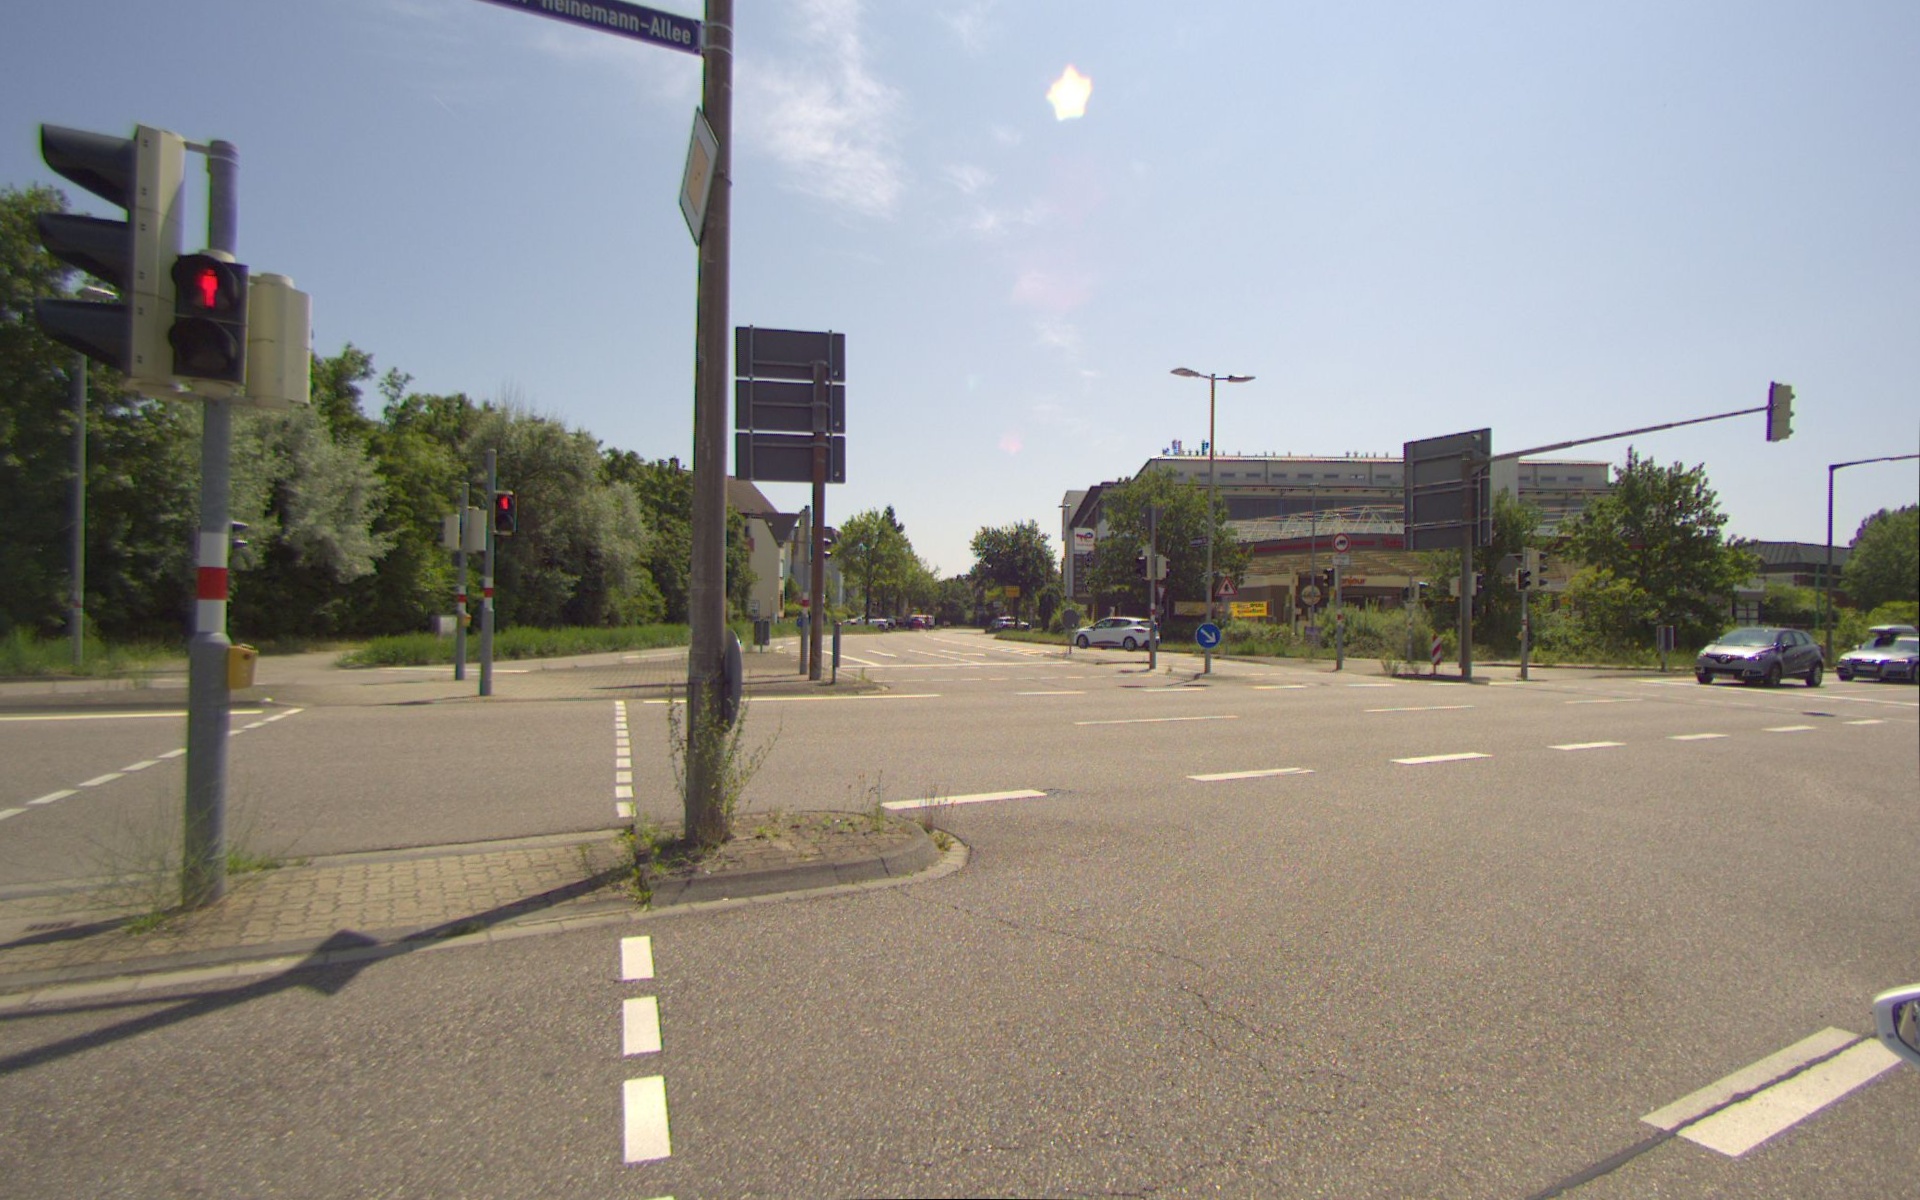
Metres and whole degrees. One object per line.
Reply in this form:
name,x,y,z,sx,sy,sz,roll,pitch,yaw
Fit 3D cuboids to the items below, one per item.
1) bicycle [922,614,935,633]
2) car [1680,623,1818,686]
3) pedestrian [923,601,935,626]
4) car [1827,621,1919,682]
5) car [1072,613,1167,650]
bicycle,-3.403,2.511,108.588,0.876,2.040,3.196,1,-1,6
car,21.606,1.469,27.479,3.954,1.560,1.650,2,0,-31
pedestrian,-3.342,1.459,108.771,0.864,2.751,1.518,2,0,8
car,29.724,1.611,31.860,4.964,1.773,1.955,2,-1,-31
car,6.934,1.366,43.848,1.817,1.469,3.777,3,-2,-44
